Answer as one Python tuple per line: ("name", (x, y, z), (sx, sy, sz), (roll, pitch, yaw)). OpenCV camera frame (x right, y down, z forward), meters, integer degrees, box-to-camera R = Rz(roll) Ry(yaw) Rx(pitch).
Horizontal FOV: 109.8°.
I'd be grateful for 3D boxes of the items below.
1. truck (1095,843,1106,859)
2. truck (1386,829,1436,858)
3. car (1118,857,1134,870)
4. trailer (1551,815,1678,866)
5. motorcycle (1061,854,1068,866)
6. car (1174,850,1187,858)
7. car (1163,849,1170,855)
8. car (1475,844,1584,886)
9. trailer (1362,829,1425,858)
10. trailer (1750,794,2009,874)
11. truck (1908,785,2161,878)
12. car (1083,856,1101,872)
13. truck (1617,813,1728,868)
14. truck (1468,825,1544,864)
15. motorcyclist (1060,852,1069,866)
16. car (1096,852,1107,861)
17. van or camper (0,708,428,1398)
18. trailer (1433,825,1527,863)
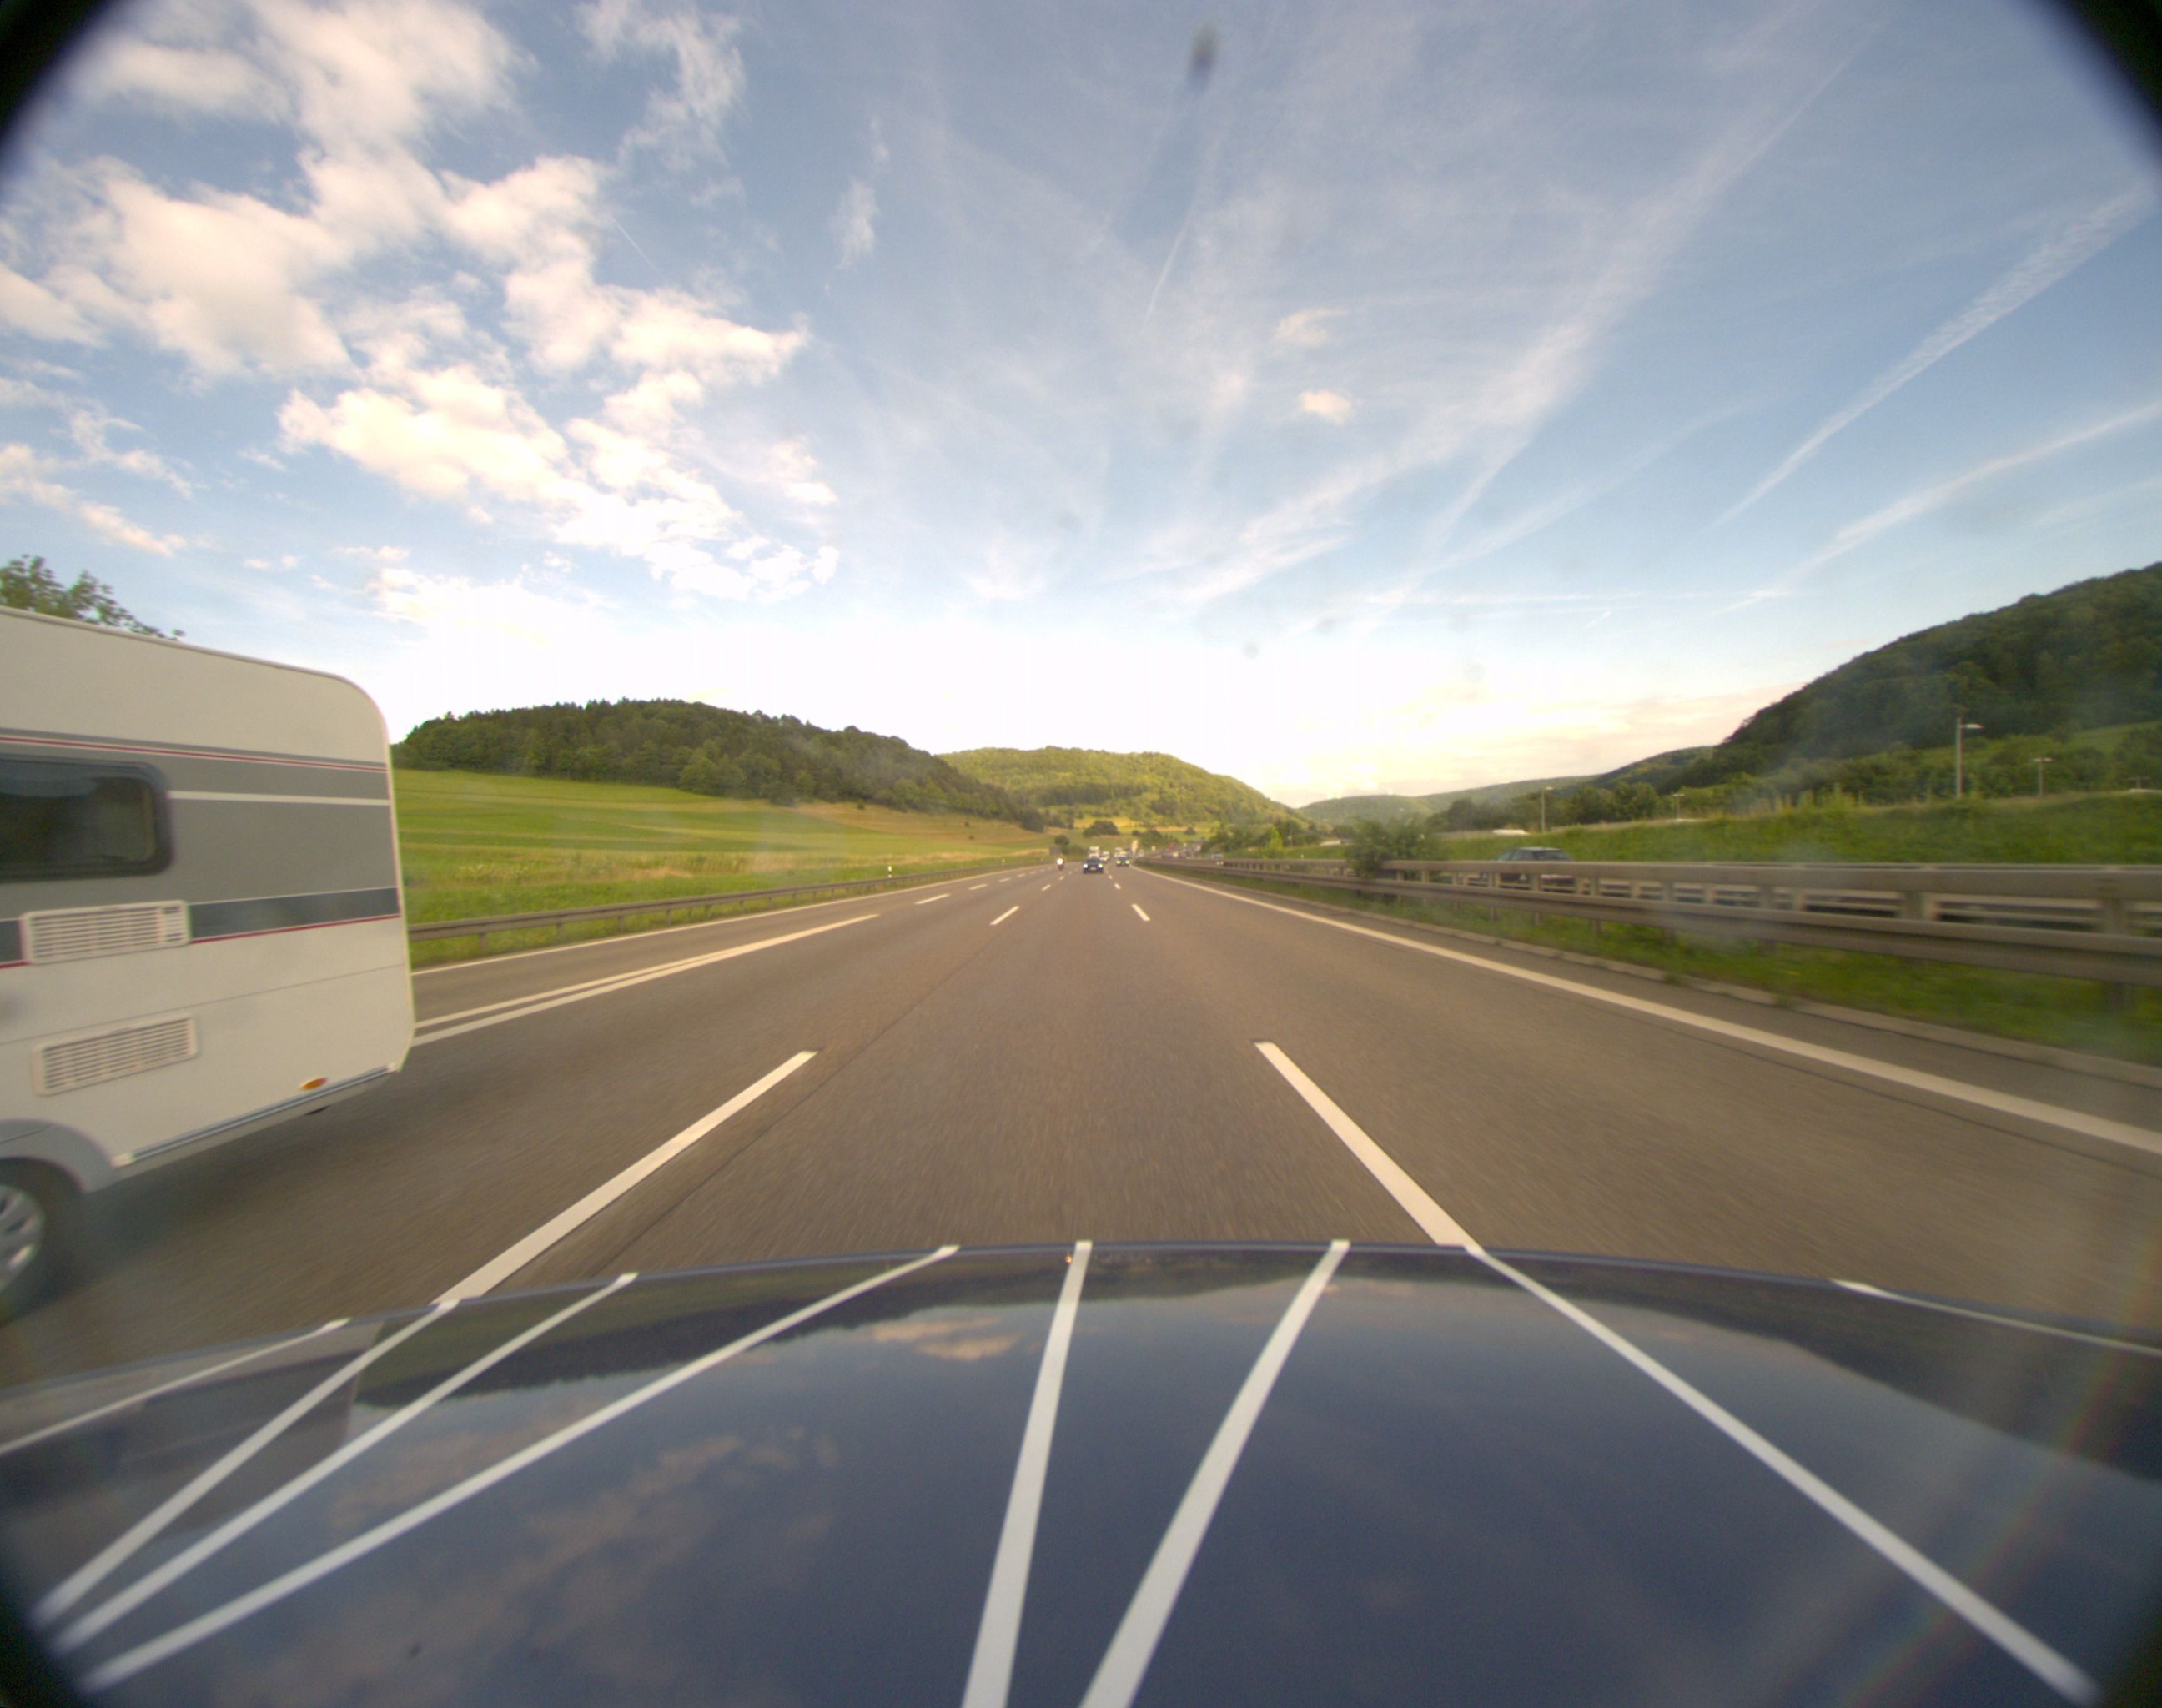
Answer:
("truck", (5.307, -0.812, 207.844), (2.971, 3.970, 17.729), (-1, 1, 2))
("truck", (42.492, -1.323, 98.147), (2.888, 3.669, 8.492), (0, 0, 1))
("car", (6.726, 1.392, 113.719), (1.997, 1.871, 4.003), (0, 1, 10))
("trailer", (41.772, -0.970, 60.142), (2.884, 3.674, 10.372), (0, 0, 1))
("motorcycle", (-1.922, 0.722, 88.587), (0.628, 1.331, 1.739), (0, 1, 4))
("car", (18.661, 0.075, 142.462), (1.956, 1.467, 3.872), (0, 0, 1))
("car", (25.561, -0.594, 227.858), (1.811, 1.605, 4.341), (-1, 2, 3))
("car", (16.469, 0.358, 28.150), (1.657, 1.455, 3.999), (0, 0, -1))
("trailer", (42.503, -1.331, 103.968), (2.884, 3.674, 13.675), (-1, 0, 0))
("trailer", (41.365, -0.943, 40.203), (2.884, 3.674, 10.372), (0, 0, 1))
("truck", (41.246, -0.910, 33.260), (2.888, 3.669, 6.591), (0, 0, 1))
("car", (1.014, 0.901, 68.773), (1.580, 1.310, 4.000), (-1, 1, 1))
("truck", (41.649, -0.921, 53.813), (2.888, 3.669, 6.591), (0, 0, 2))
("truck", (41.986, -0.986, 75.449), (2.888, 3.670, 8.491), (1, 1, 1))
("motorcyclist", (-1.952, 0.580, 88.788), (0.878, 1.506, 0.797), (-1, 2, 5))
("car", (4.444, 0.499, 163.454), (1.997, 1.871, 4.002), (0, 1, 8))
("van or camper", (-4.858, 0.719, 1.307), (2.554, 2.226, 5.329), (-4, 0, 3))
("trailer", (42.084, -1.078, 80.981), (2.884, 3.675, 13.674), (1, 1, 1))
